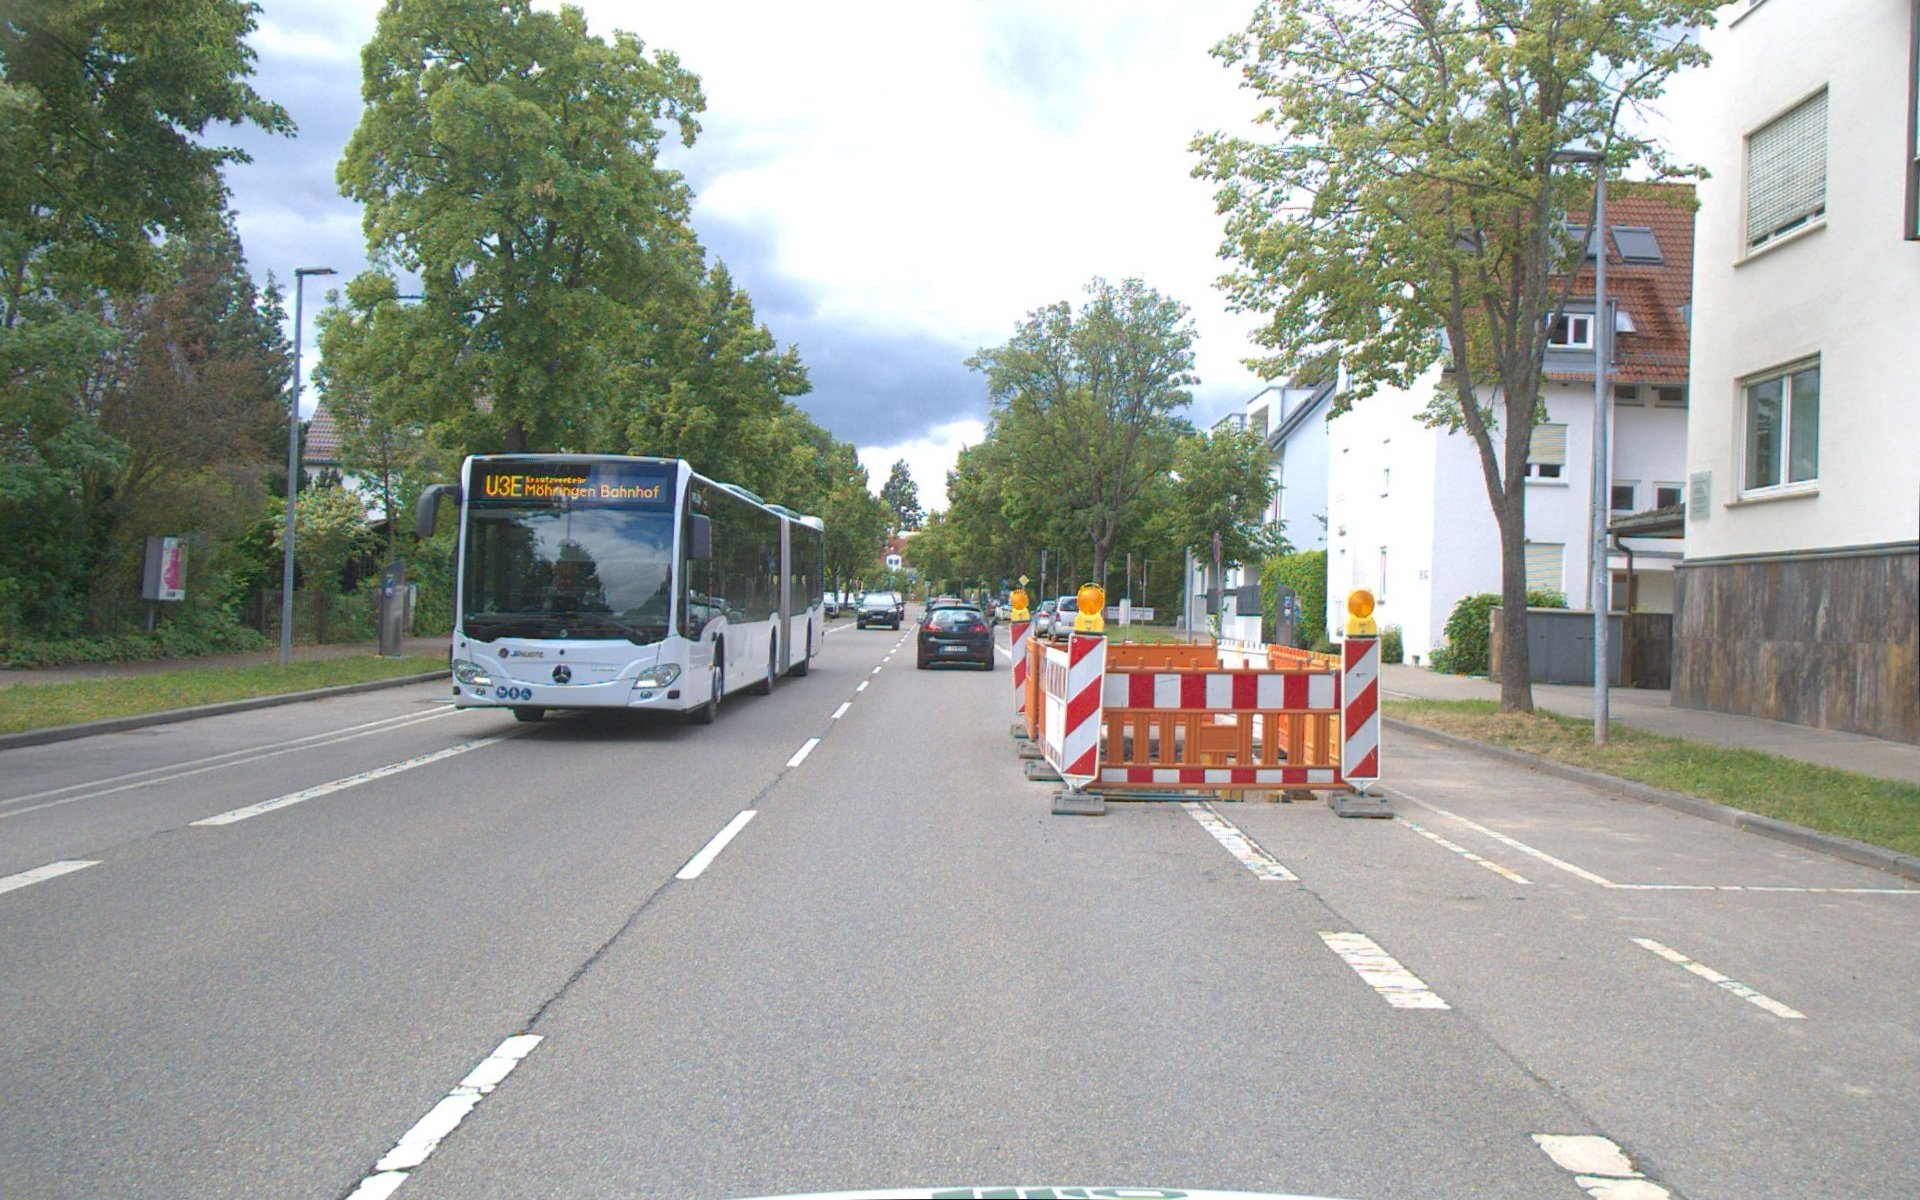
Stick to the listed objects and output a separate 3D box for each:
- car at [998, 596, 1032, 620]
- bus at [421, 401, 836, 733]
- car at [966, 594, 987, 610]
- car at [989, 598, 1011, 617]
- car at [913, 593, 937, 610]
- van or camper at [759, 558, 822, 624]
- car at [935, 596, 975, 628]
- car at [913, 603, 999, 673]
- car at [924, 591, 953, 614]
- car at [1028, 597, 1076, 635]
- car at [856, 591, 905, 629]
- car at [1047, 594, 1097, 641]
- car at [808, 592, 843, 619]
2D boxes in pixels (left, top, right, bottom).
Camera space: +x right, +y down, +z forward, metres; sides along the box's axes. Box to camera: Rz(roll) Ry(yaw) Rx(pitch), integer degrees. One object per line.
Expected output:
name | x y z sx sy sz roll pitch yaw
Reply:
car | 3.512 0.500 106.067 1.979 1.468 5.024 2 0 0
bus | -4.097 -0.249 26.110 2.747 3.346 18.044 2 -1 0
car | 1.591 0.202 161.342 1.650 1.457 4.039 1 0 -6
car | 3.052 0.561 126.361 1.604 1.445 4.000 1 0 1
car | -3.265 0.172 154.322 1.955 1.534 3.995 2 -1 -6
van or camper | -8.331 -0.433 81.964 2.385 3.062 7.692 1 0 -1
car | -0.224 0.620 85.670 1.952 1.585 4.000 1 0 1
car | -0.139 0.817 37.241 1.747 1.474 3.555 1 0 -3
car | -1.576 0.174 120.990 1.954 1.557 3.998 1 0 -3
car | 3.755 0.644 68.201 1.653 1.519 4.226 1 0 -1
car | -3.661 0.451 76.783 1.952 1.697 4.589 0 0 1
car | 4.212 0.624 62.466 1.599 1.694 3.647 1 0 -1
car | -8.745 0.323 107.784 1.779 1.681 4.699 2 0 1
